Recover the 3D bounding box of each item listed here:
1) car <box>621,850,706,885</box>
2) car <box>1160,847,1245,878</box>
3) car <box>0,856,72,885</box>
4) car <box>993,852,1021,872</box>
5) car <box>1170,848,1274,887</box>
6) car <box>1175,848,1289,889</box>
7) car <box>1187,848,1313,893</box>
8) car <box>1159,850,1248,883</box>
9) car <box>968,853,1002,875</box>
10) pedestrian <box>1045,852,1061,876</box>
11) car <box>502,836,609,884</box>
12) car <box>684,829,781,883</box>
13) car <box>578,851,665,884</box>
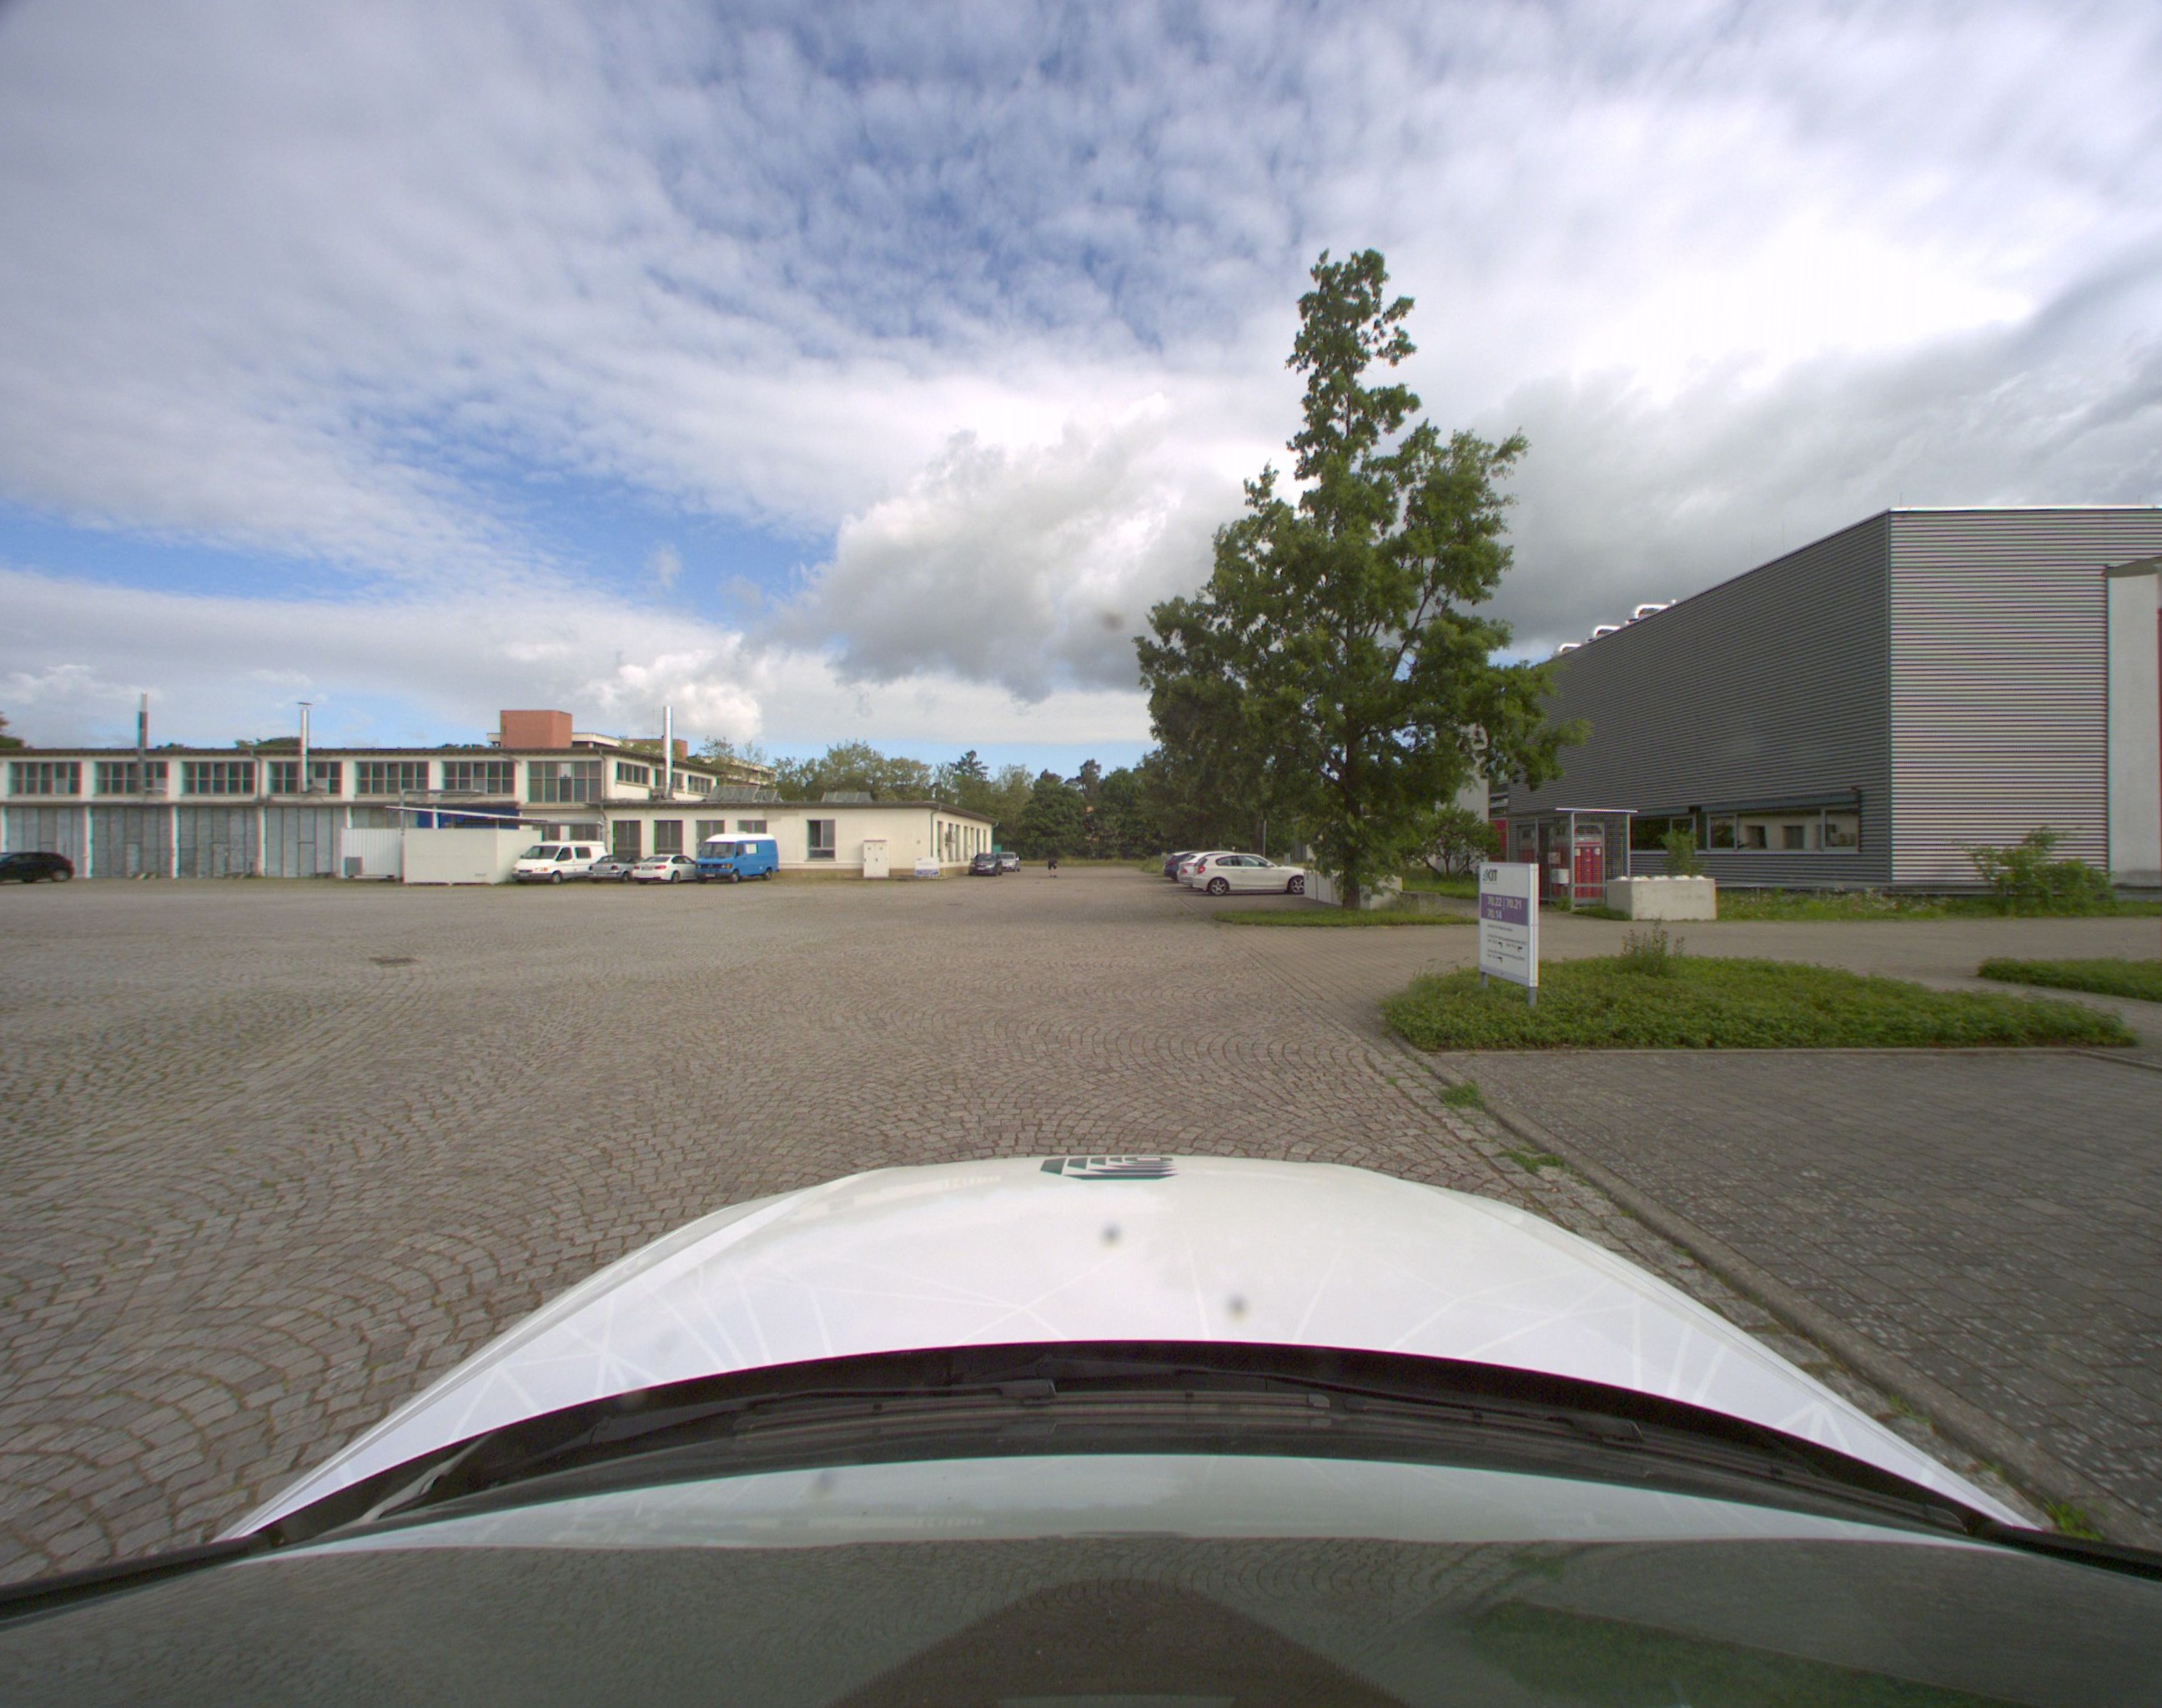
[{"bbox_3d":[-20.266,0.617,39.730,1.892,1.575,4.004,0,0,3],"label":"car"},{"bbox_3d":[6.127,0.410,41.307,3.977,1.533,1.998,0,0,-2],"label":"car"},{"bbox_3d":[-53.098,0.818,40.274,1.659,1.410,3.725,0,0,2],"label":"car"},{"bbox_3d":[-5.622,0.561,62.357,1.743,1.454,3.999,0,0,0],"label":"car"},{"bbox_3d":[5.692,0.526,33.193,3.971,1.455,1.771,-1,0,2],"label":"car"},{"bbox_3d":[5.526,0.528,30.154,3.971,1.455,1.698,0,0,2],"label":"car"},{"bbox_3d":[5.747,0.565,28.060,3.971,1.455,2.001,0,-1,2],"label":"car"},{"bbox_3d":[5.689,0.570,38.100,3.971,1.455,1.771,0,0,2],"label":"car"},{"bbox_3d":[-6.105,0.628,52.259,1.743,1.364,3.999,0,0,0],"label":"car"},{"bbox_3d":[-1.795,0.633,52.454,0.936,1.568,0.971,0,0,1],"label":"pedestrian"},{"bbox_3d":[-25.911,0.278,40.366,1.892,2.206,4.789,0,0,5],"label":"car"},{"bbox_3d":[-17.370,0.100,40.937,1.984,2.523,5.626,0,0,5],"label":"car"},{"bbox_3d":[-22.886,0.656,40.774,1.892,1.575,4.004,0,0,3],"label":"car"}]
